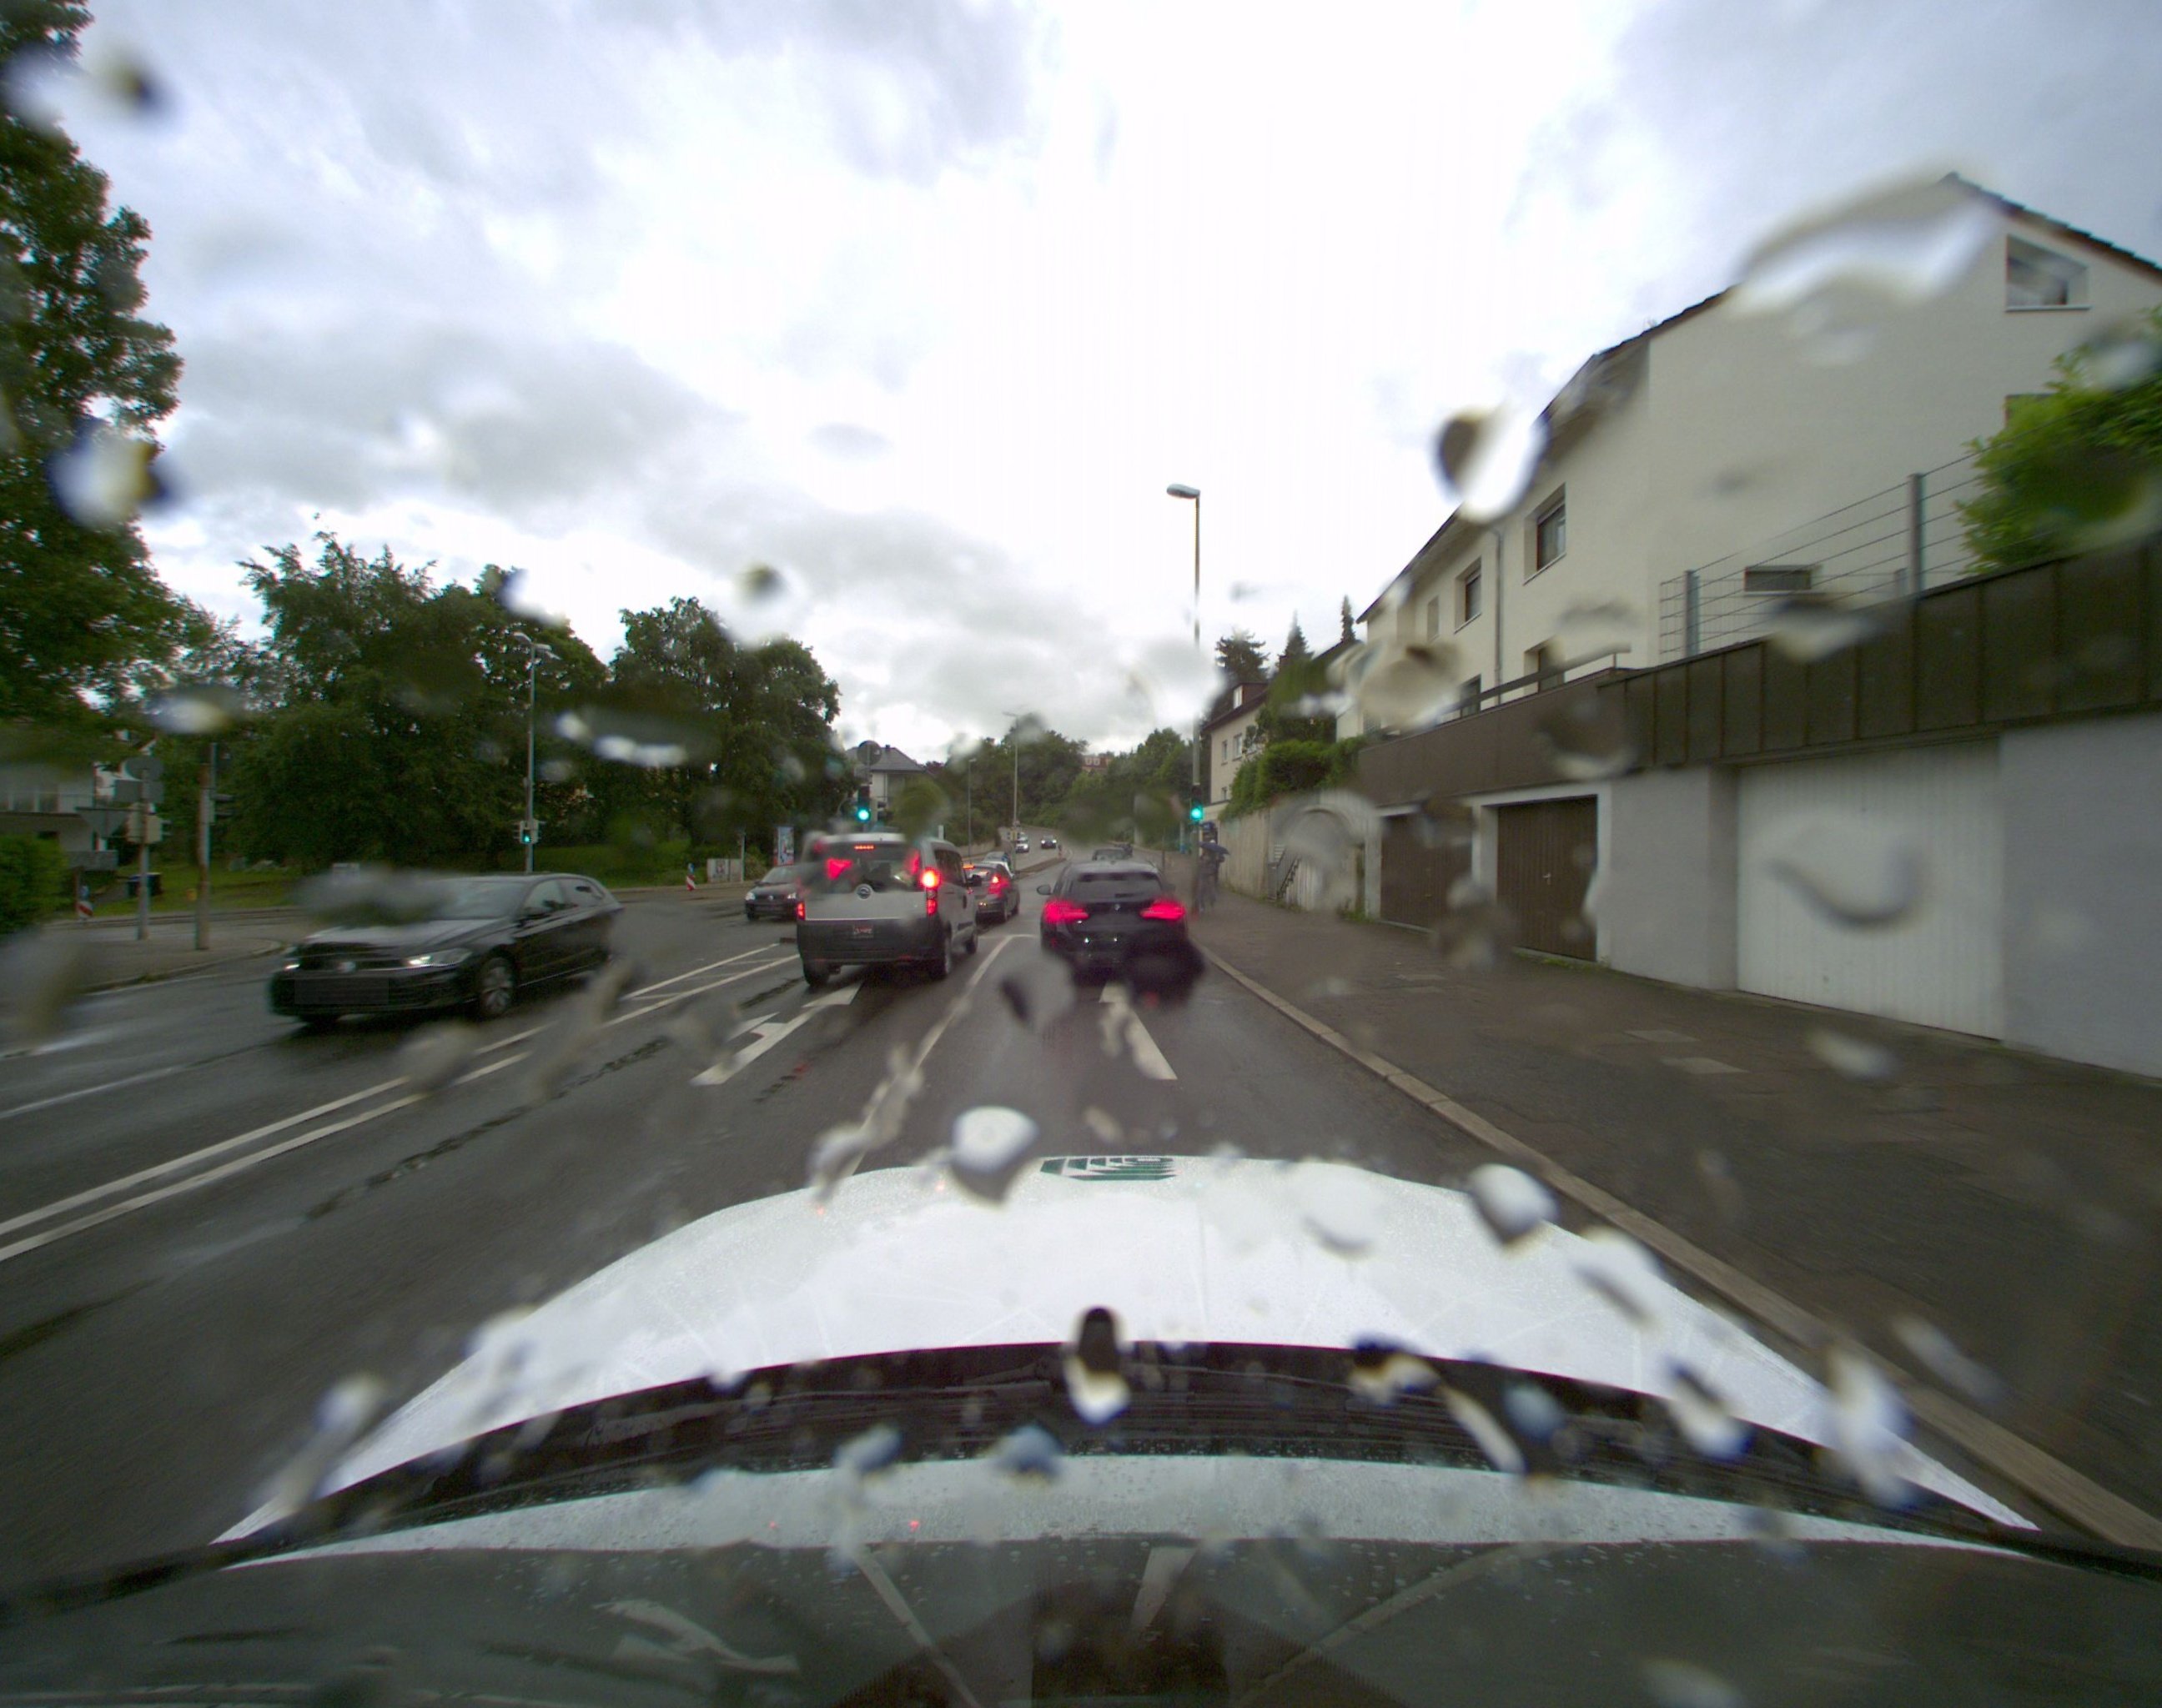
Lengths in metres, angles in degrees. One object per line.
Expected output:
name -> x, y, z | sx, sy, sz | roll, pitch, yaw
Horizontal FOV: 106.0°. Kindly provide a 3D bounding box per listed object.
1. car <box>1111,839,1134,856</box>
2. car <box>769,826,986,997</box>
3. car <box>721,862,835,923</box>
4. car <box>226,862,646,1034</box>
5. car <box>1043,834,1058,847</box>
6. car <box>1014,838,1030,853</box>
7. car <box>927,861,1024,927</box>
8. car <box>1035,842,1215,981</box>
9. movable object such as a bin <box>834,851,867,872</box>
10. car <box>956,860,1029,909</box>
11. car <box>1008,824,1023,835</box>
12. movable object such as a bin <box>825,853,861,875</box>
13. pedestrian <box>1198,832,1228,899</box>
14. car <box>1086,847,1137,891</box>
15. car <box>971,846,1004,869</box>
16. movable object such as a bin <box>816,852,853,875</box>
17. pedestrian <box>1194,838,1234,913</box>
car -> 4.138, -0.692, 81.110 | 1.847, 1.662, 3.995 | 0, 1, -4
car -> -2.569, 0.656, 11.559 | 1.946, 1.871, 4.743 | -1, 0, -1
car -> -8.076, 0.966, 22.092 | 1.850, 1.464, 3.993 | -1, 0, -5
car -> -6.820, 0.854, 9.273 | 1.708, 1.503, 3.996 | -1, -1, -3
car -> -3.963, -1.732, 105.281 | 1.837, 1.552, 4.378 | -2, 0, -4
car -> -7.232, -1.036, 99.583 | 1.819, 1.657, 4.461 | -2, 0, -3
car -> -2.574, 0.937, 20.841 | 1.828, 1.487, 4.060 | -1, -1, 1
car -> 0.389, 0.723, 11.732 | 1.990, 1.586, 4.655 | 0, -2, -5
movable object such as a bin -> -17.597, 0.581, 62.267 | 2.047, 1.514, 1.346 | -1, 2, 6
car -> -2.984, 0.992, 28.379 | 1.901, 1.528, 4.653 | -1, -1, 1
car -> -12.942, -4.827, 160.603 | 2.001, 2.014, 3.971 | -1, 0, -21
movable object such as a bin -> -17.761, 0.723, 60.795 | 2.047, 1.568, 1.584 | -1, 2, 6
pedestrian -> 4.052, 0.355, 25.042 | 0.794, 2.014, 0.734 | -1, -1, 1
car -> 1.241, 0.622, 35.115 | 1.988, 1.748, 3.998 | -1, 0, -1
car -> -6.711, 0.300, 58.795 | 1.988, 1.574, 3.997 | -1, -1, -1
movable object such as a bin -> -17.915, 0.694, 59.261 | 2.047, 1.568, 1.584 | -1, 2, 6
pedestrian -> 3.288, 0.520, 20.193 | 0.791, 1.780, 1.012 | -2, -1, 1
